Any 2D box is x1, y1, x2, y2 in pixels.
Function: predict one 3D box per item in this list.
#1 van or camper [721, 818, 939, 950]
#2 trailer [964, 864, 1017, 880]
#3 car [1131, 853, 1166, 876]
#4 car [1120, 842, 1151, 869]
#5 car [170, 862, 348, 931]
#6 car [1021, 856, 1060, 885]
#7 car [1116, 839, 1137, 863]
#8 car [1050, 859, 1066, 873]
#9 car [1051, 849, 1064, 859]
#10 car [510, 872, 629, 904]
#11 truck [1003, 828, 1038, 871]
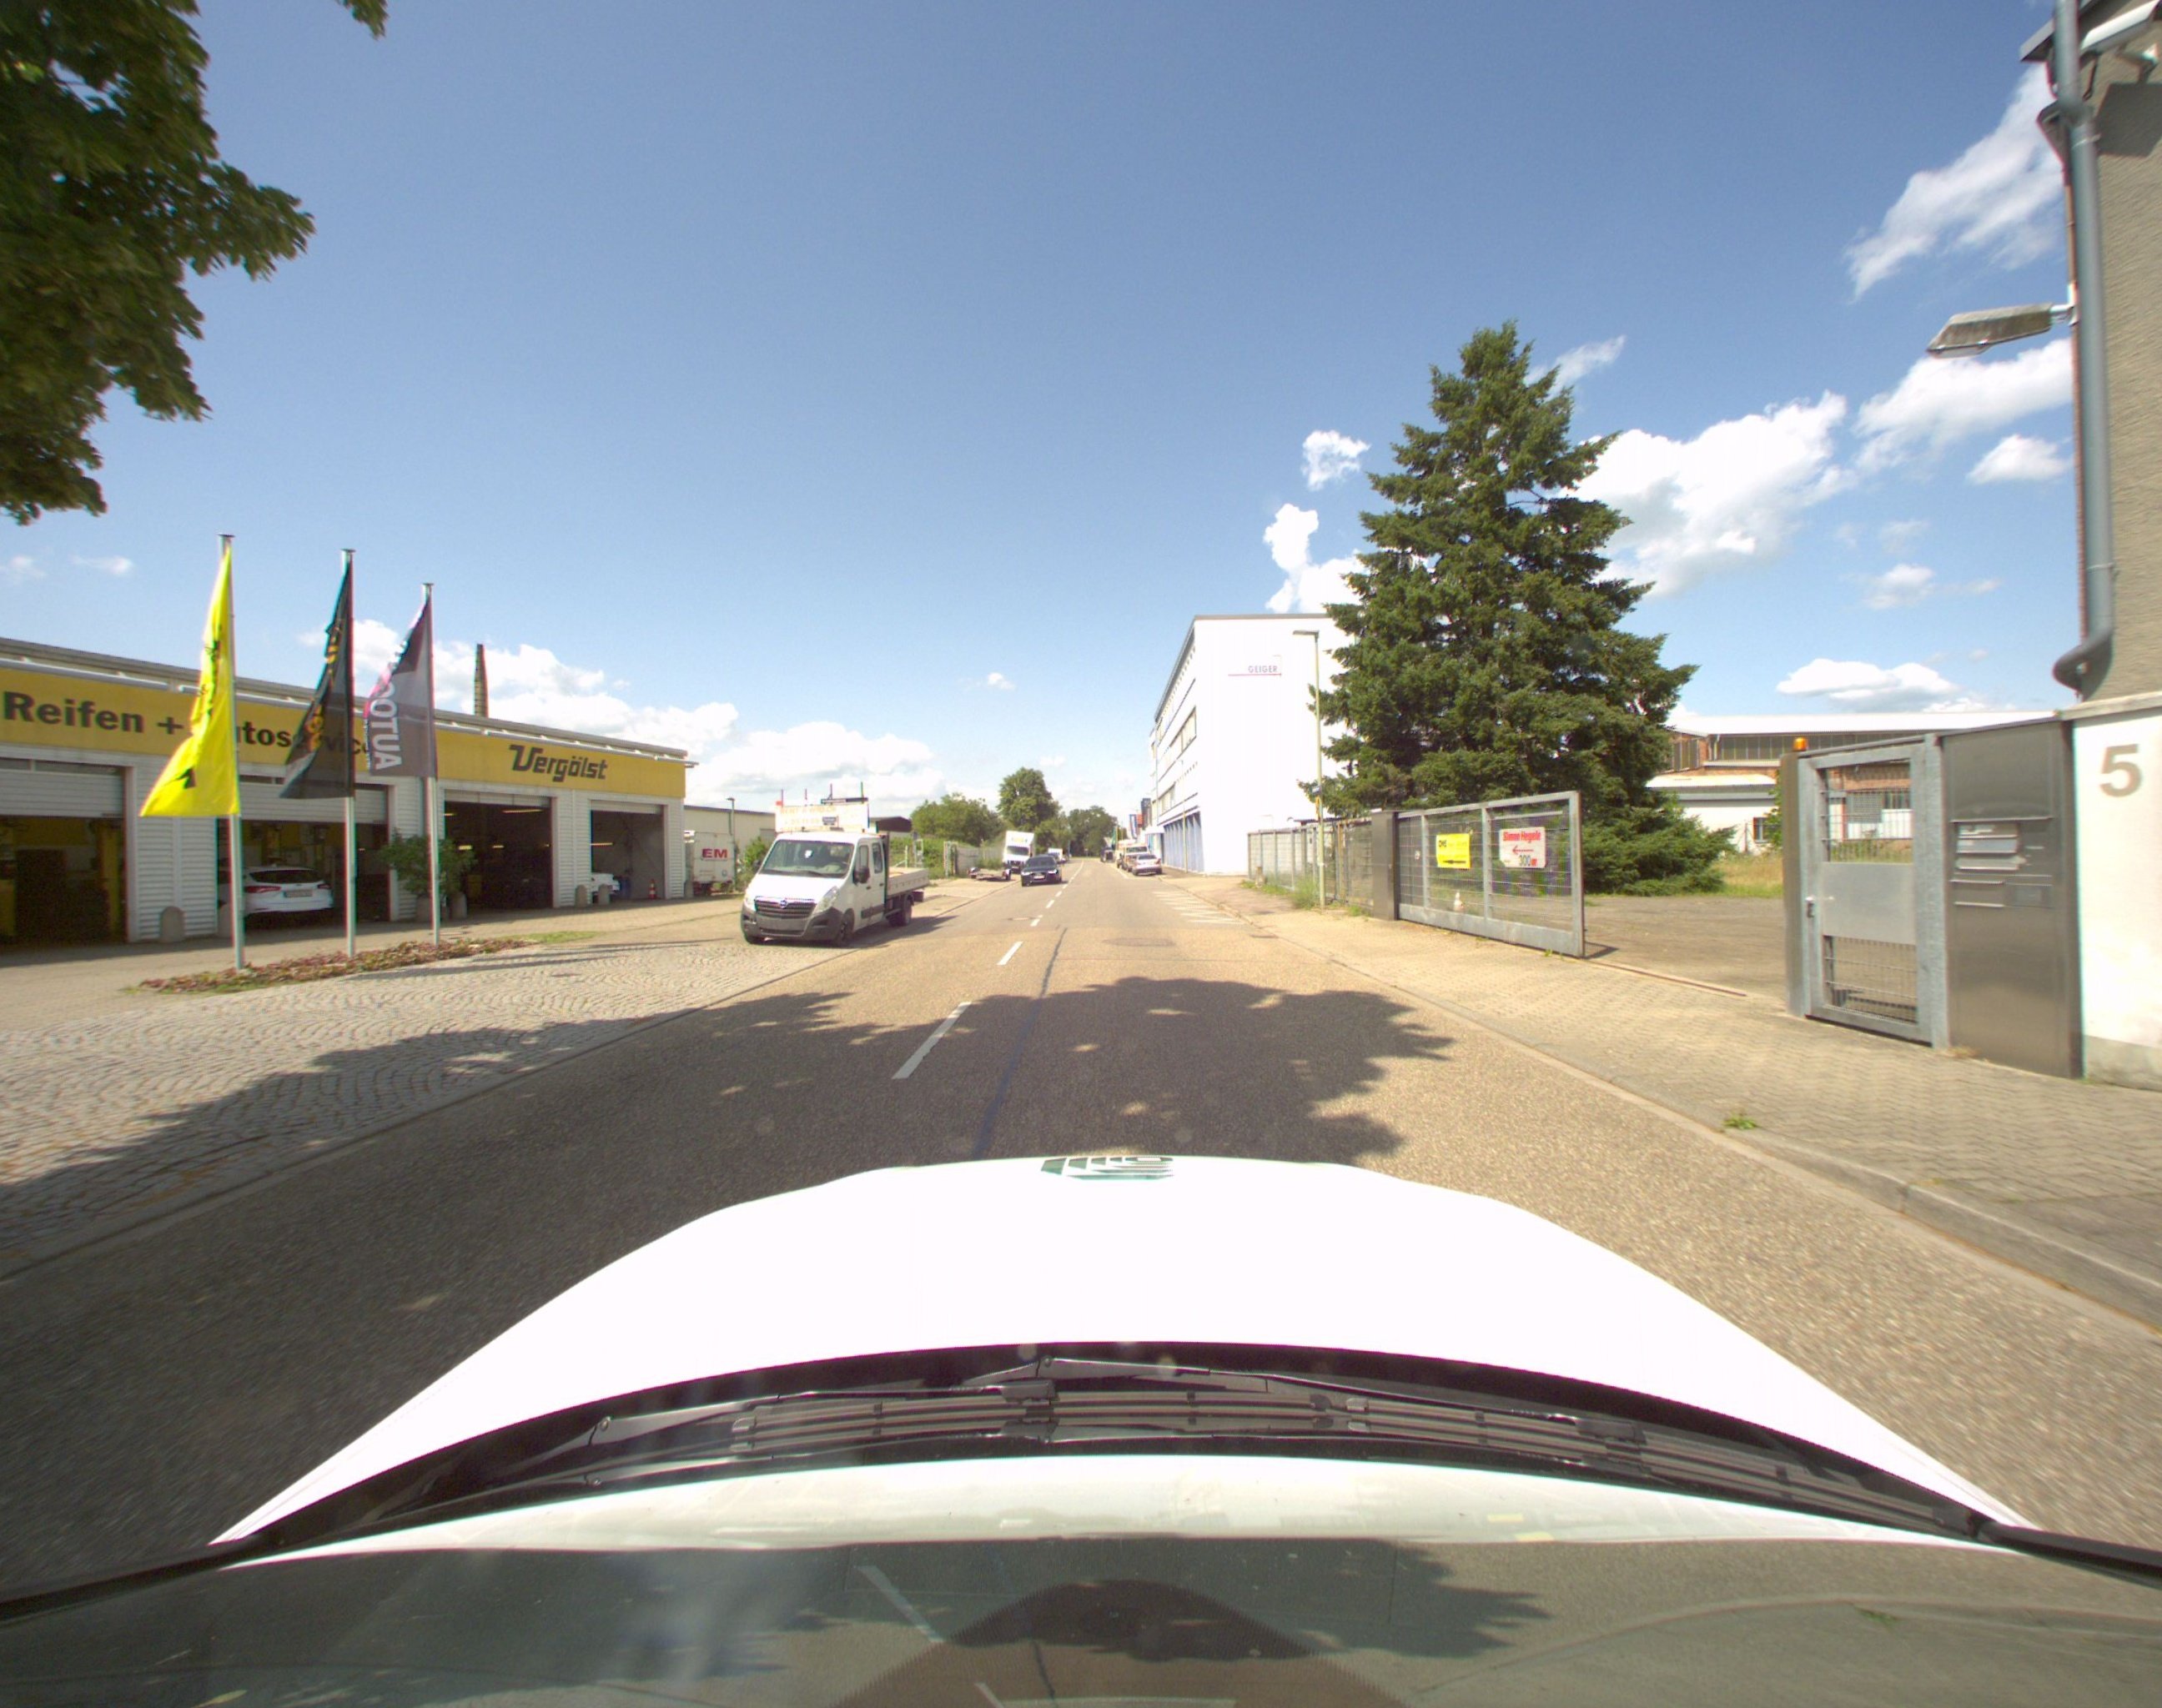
[{"bbox_3d":[-5.351,0.558,19.007,2.164,2.413,7.706,-1,0,4],"label":"van or camper"},{"bbox_3d":[-5.378,1.053,48.989,2.408,0.813,5.539,1,0,1],"label":"trailer"},{"bbox_3d":[4.206,0.630,51.255,1.921,1.310,4.001,-1,0,1],"label":"car"},{"bbox_3d":[4.319,0.143,64.959,2.208,2.013,5.486,-1,0,1],"label":"car"},{"bbox_3d":[-19.840,0.967,19.651,3.949,1.464,2.002,-1,0,29],"label":"car"},{"bbox_3d":[-2.002,0.792,41.303,1.649,1.324,4.417,-1,0,1],"label":"car"},{"bbox_3d":[4.203,-0.265,75.418,1.701,2.090,4.000,-1,0,0],"label":"car"},{"bbox_3d":[-2.855,1.452,102.299,1.707,1.650,4.001,-1,0,1],"label":"car"},{"bbox_3d":[-4.034,-0.006,141.857,1.986,1.816,4.001,-1,0,1],"label":"car"},{"bbox_3d":[-17.892,1.177,28.499,3.604,1.037,1.549,-1,0,18],"label":"car"},{"bbox_3d":[-4.625,-0.322,63.183,2.022,3.154,6.501,-1,0,1],"label":"truck"}]
